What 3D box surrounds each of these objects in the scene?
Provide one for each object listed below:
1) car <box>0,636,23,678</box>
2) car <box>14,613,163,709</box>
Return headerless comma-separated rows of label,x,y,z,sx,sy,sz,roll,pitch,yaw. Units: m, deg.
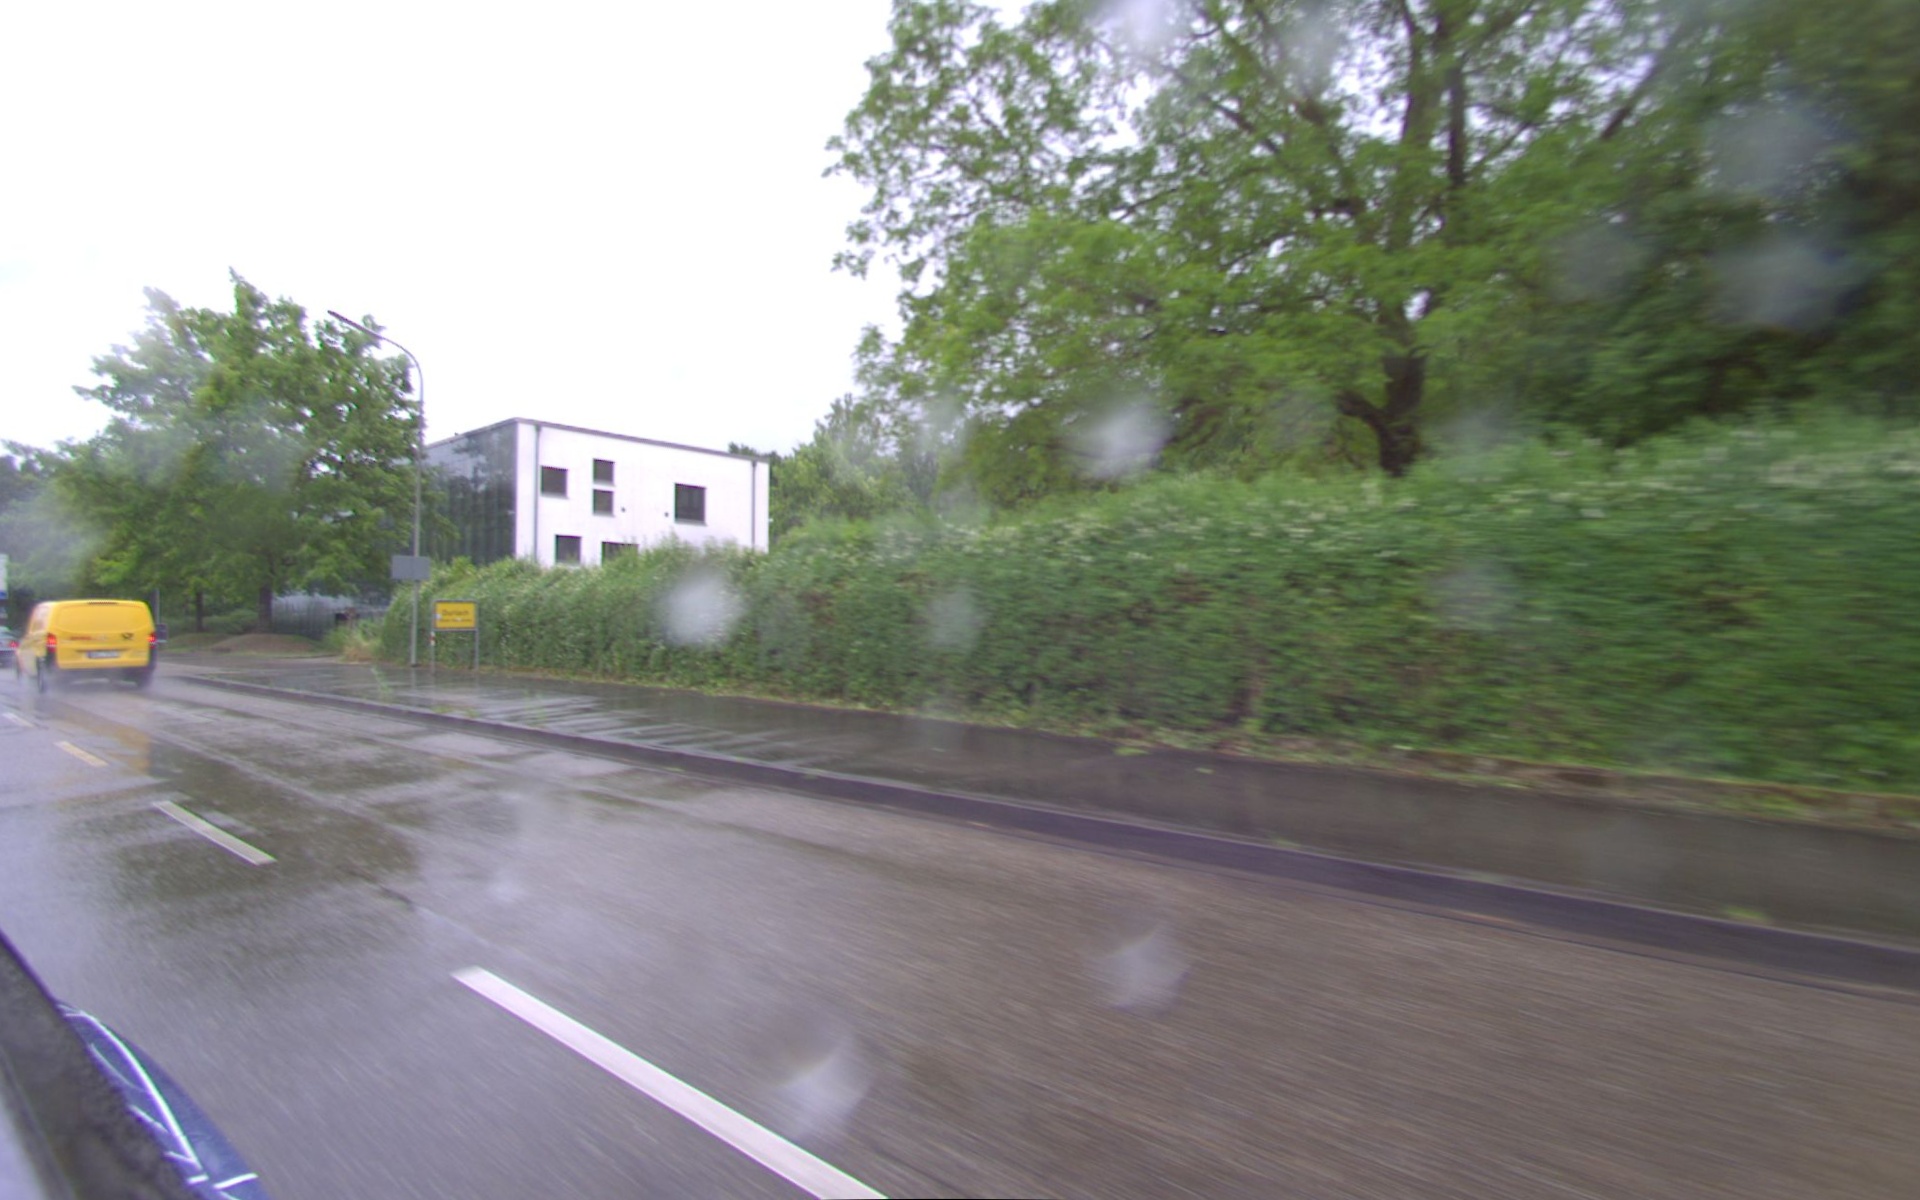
car,-32.959,1.901,34.047,3.903,1.360,1.684,-2,-2,41
car,-19.266,1.274,22.294,5.035,1.886,1.916,-2,-2,43
